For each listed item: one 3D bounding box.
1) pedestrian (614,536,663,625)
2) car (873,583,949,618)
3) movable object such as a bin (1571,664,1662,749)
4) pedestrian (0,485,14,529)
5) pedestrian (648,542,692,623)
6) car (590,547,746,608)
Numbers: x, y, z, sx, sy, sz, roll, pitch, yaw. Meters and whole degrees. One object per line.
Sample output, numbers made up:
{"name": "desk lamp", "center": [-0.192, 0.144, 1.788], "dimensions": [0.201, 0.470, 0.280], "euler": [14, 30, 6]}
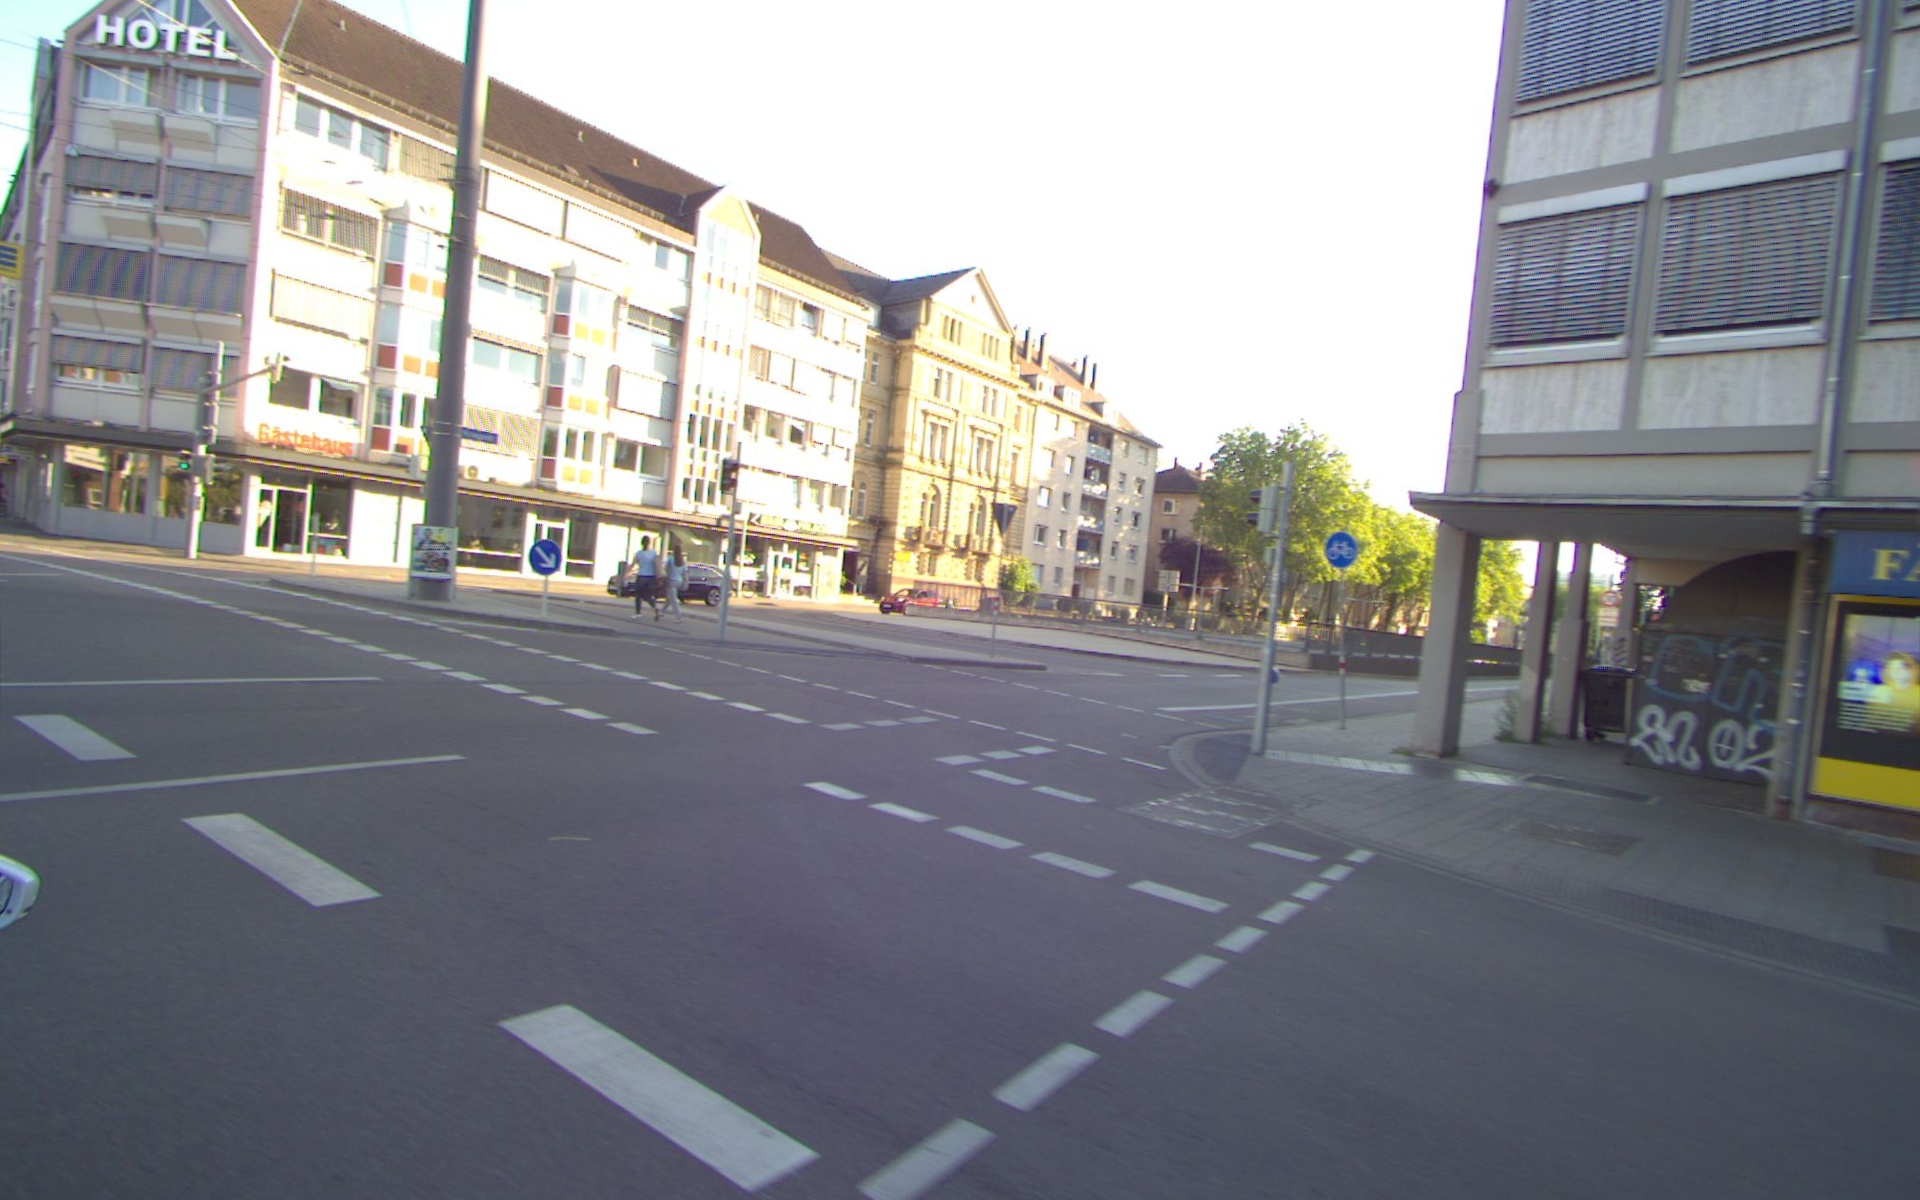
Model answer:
{"name": "pedestrian", "center": [-6.426, -0.386, 20.128], "dimensions": [0.715, 1.670, 0.769], "euler": [5, 2, -12]}
{"name": "car", "center": [-2.453, 0.040, 50.867], "dimensions": [1.624, 1.440, 3.881], "euler": [7, 1, 37]}
{"name": "movable object such as a bin", "center": [11.811, 1.894, 18.086], "dimensions": [1.404, 1.344, 0.948], "euler": [5, 2, -44]}
{"name": "pedestrian", "center": [-36.920, -3.600, 38.582], "dimensions": [0.893, 1.568, 0.704], "euler": [11, 3, 40]}
{"name": "pedestrian", "center": [-6.092, -0.362, 21.146], "dimensions": [0.694, 1.603, 0.823], "euler": [5, 2, -12]}
{"name": "car", "center": [-9.989, -0.749, 34.646], "dimensions": [4.579, 1.575, 2.196], "euler": [5, 1, -43]}
